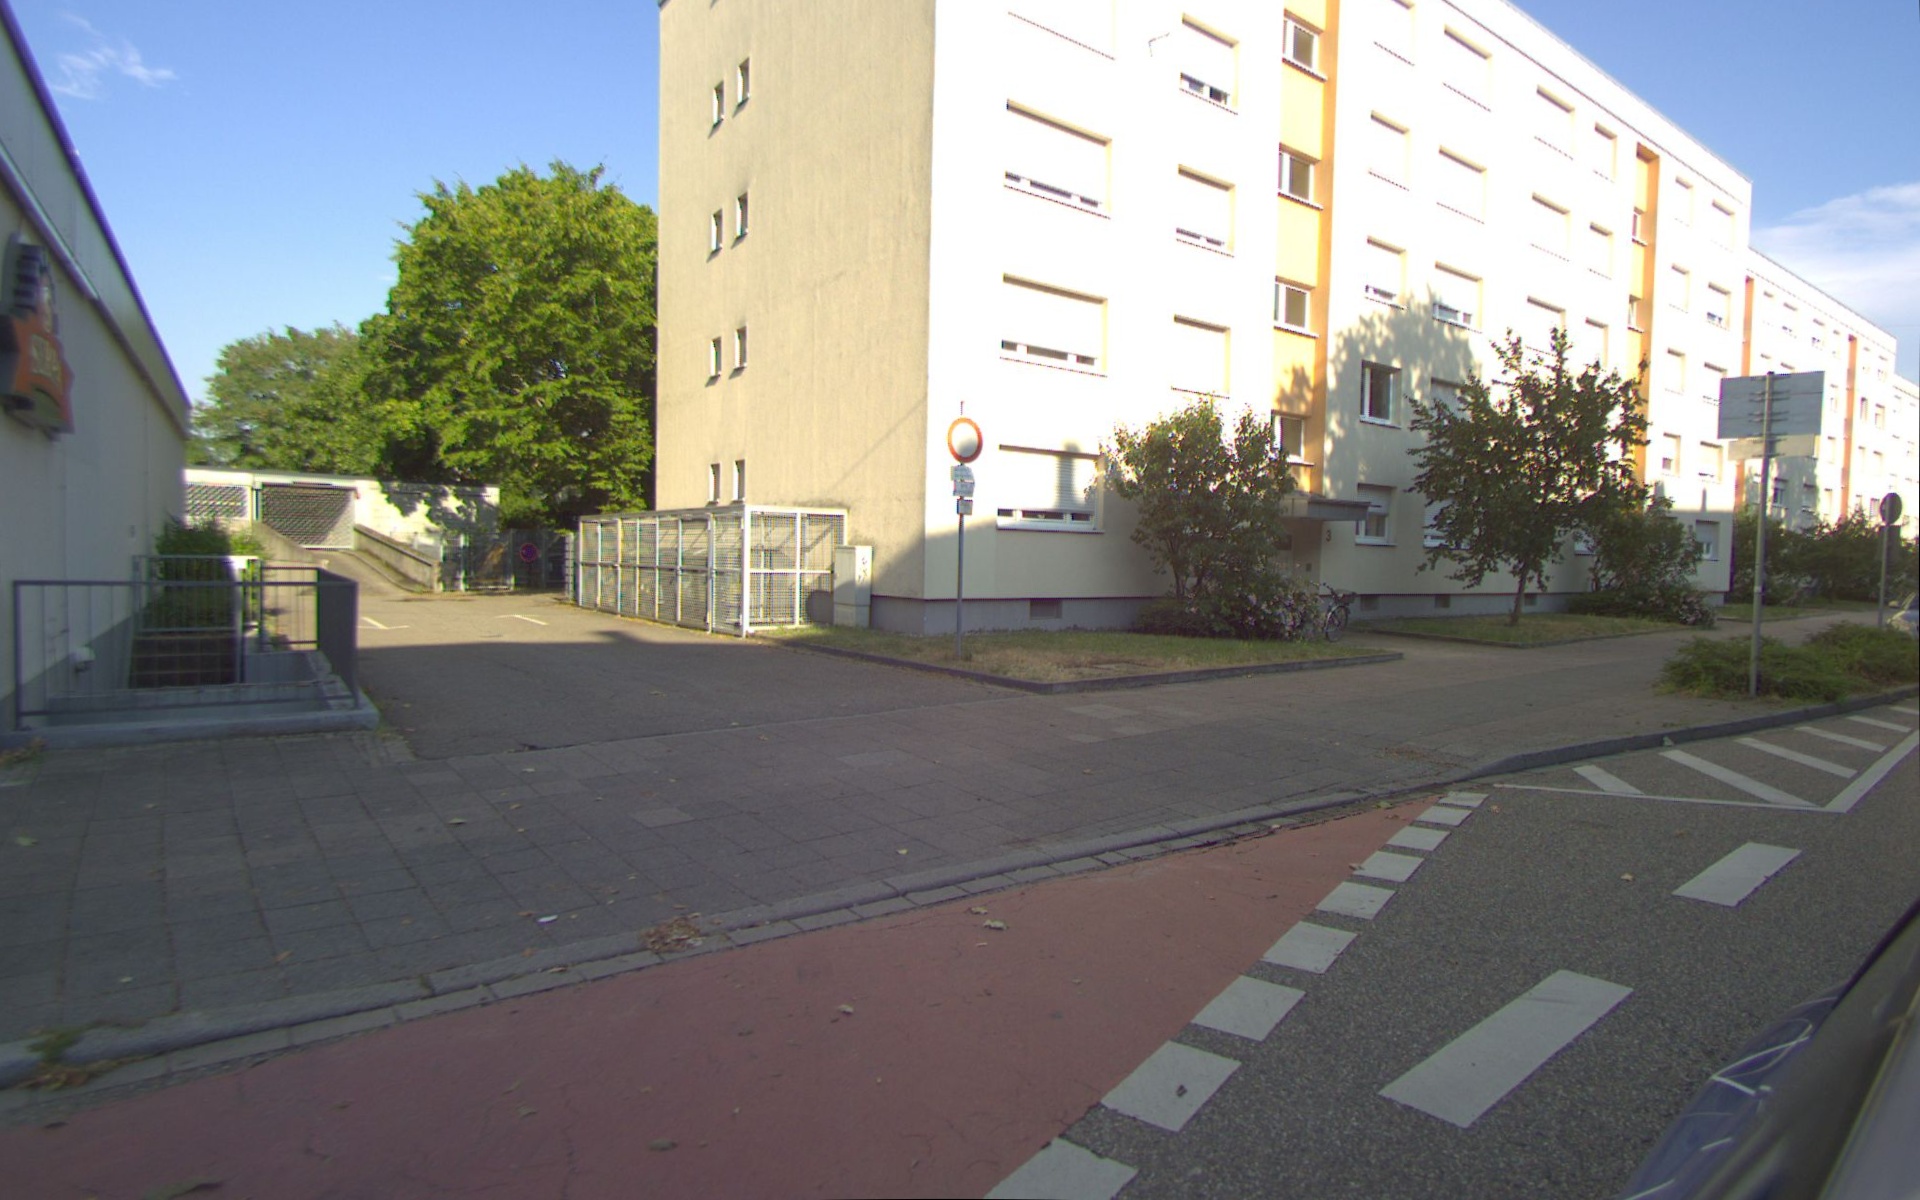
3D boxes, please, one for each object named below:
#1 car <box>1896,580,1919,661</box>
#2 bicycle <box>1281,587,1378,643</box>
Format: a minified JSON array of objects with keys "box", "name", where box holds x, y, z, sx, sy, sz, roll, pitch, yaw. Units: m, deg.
[{"box":[20.885,0.397,20.934,3.931,1.491,1.744,-3,4,-40],"name":"car"},{"box":[6.582,0.252,17.963,2.190,0.937,0.637,0,0,-40],"name":"bicycle"}]
